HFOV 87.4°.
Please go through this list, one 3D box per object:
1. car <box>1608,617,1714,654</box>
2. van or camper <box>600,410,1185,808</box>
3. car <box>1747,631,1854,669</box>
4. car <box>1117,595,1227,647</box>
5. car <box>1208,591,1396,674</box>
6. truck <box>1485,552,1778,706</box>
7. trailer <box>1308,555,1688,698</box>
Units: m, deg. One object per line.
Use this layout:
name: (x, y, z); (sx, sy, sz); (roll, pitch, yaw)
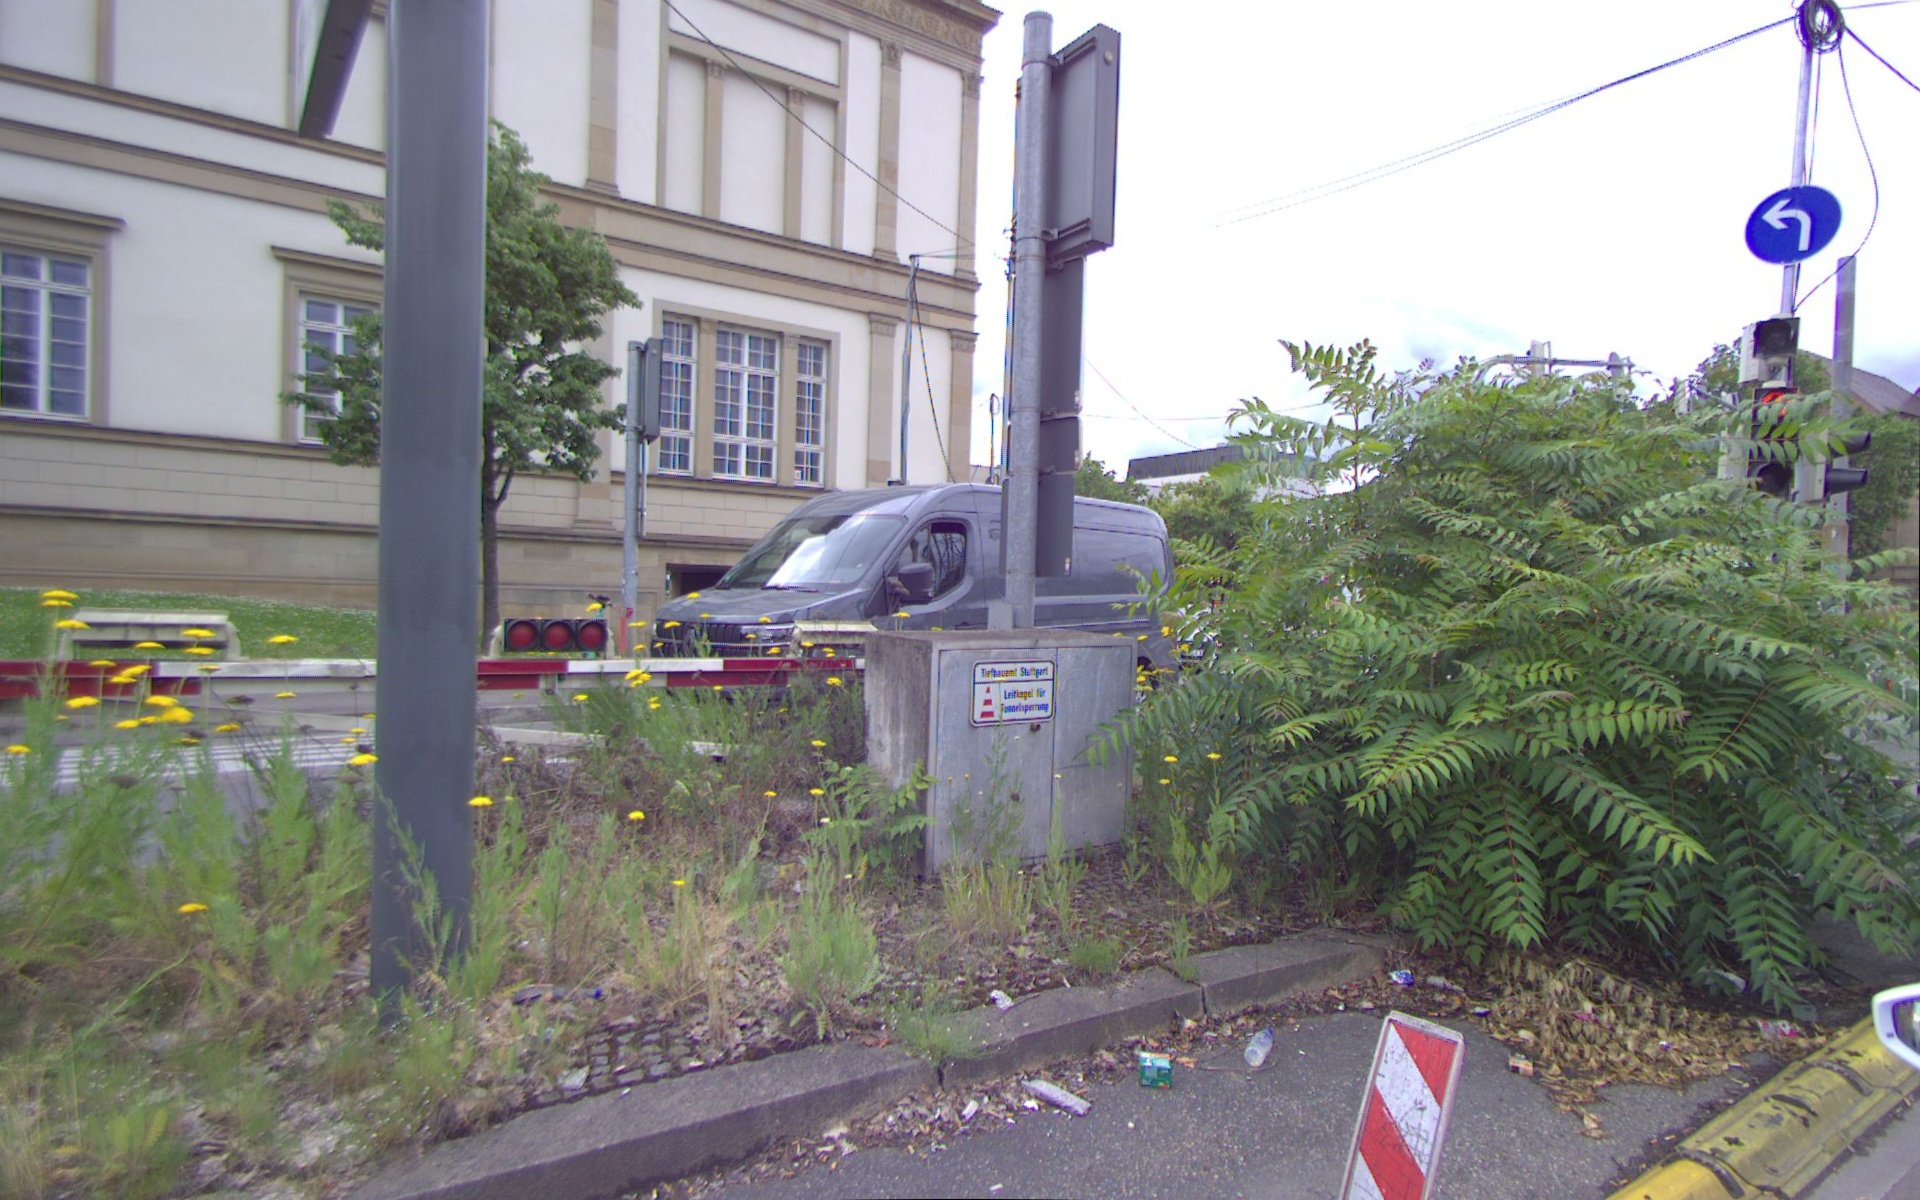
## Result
car: (37.108, 1.850, 53.231); (4.526, 1.747, 1.901); (2, 0, 37)
van or camper: (-0.162, 0.073, 9.725); (2.126, 2.645, 6.057); (1, 0, 38)
car: (43.288, 2.539, 51.884); (4.095, 1.747, 1.901); (2, 0, 38)
car: (8.044, 0.767, 38.434); (1.889, 1.763, 3.964); (2, 1, -32)
car: (7.951, 0.713, 23.710); (1.886, 1.763, 3.972); (2, 0, -27)
truck: (13.655, 0.540, 20.648); (2.830, 2.761, 4.183); (2, 0, -31)
trailer: (12.022, 0.514, 23.264); (2.831, 2.761, 7.308); (2, 0, -32)
